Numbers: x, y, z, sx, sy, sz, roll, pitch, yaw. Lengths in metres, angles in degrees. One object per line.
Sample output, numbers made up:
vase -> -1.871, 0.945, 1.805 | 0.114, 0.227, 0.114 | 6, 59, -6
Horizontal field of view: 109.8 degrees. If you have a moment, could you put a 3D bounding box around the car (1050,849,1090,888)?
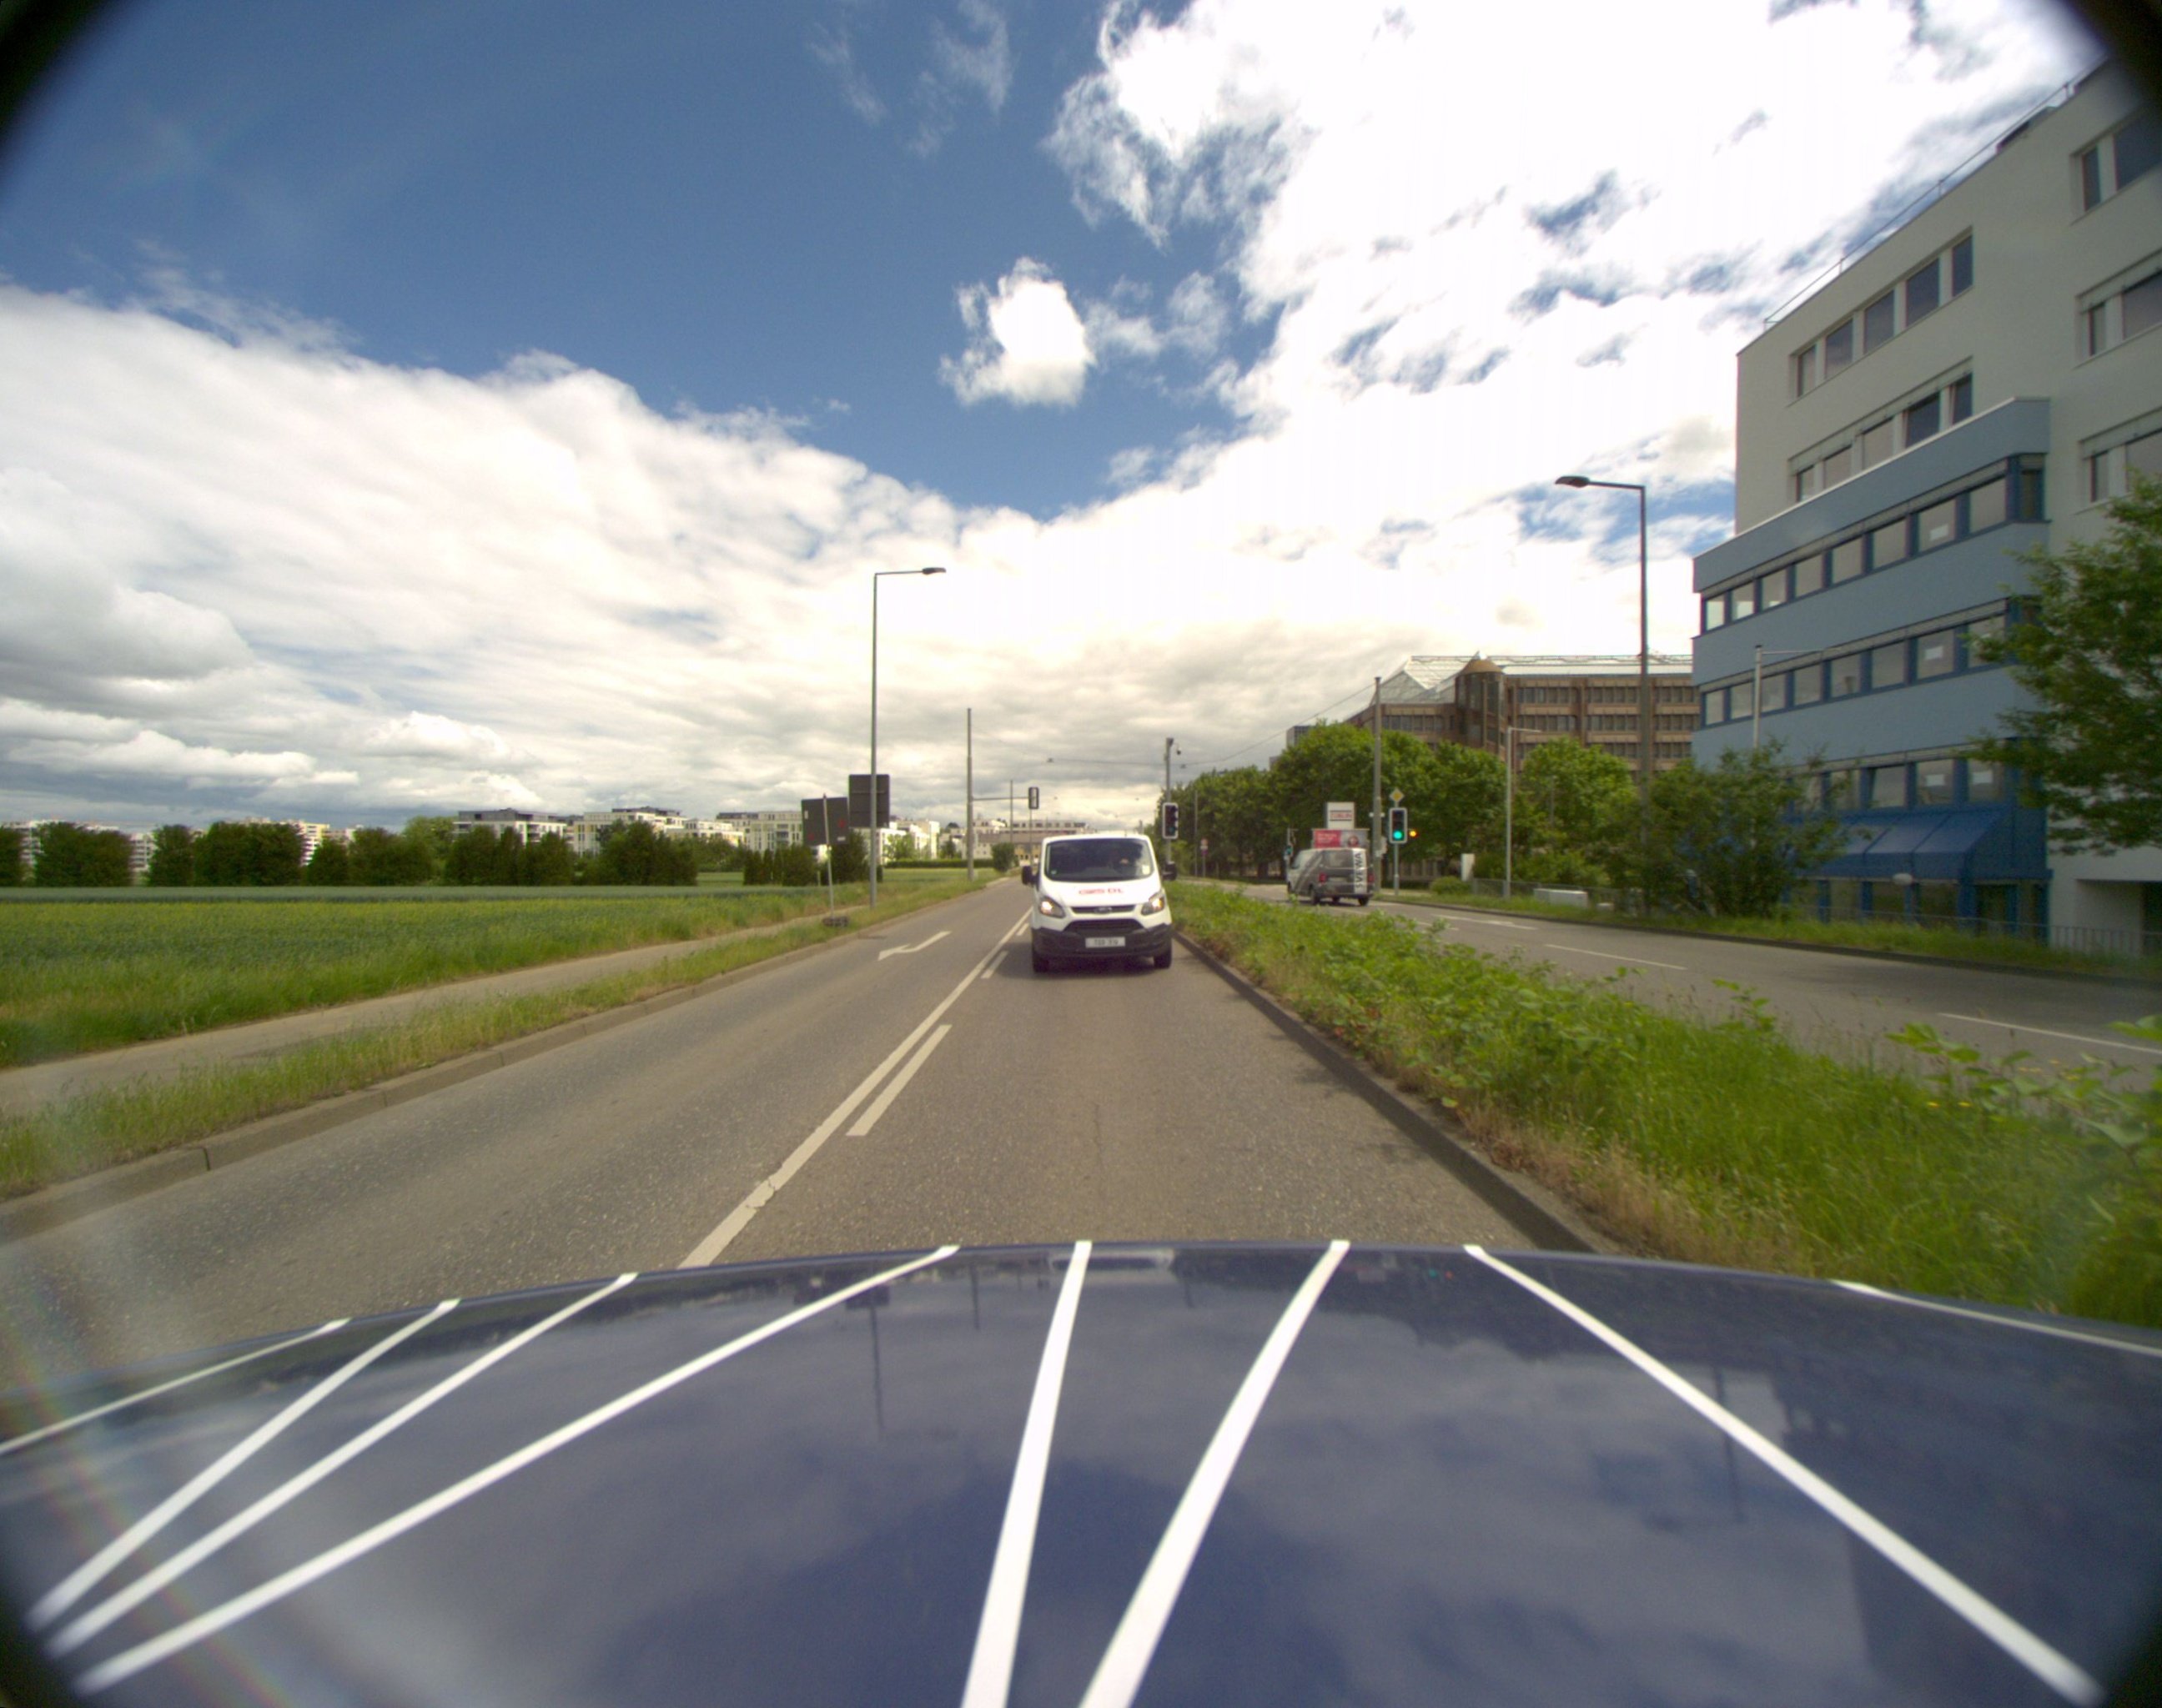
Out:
car -> -0.540, 0.728, 41.372 | 1.998, 2.002, 4.000 | -1, 0, 1

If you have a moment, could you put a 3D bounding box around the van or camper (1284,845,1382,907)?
van or camper -> 8.825, 0.714, 27.073 | 1.998, 2.002, 4.816 | -1, 0, 1

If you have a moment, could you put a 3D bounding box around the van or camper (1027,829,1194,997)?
van or camper -> 0.279, 0.721, 12.003 | 1.999, 2.002, 5.798 | 0, 0, -2
